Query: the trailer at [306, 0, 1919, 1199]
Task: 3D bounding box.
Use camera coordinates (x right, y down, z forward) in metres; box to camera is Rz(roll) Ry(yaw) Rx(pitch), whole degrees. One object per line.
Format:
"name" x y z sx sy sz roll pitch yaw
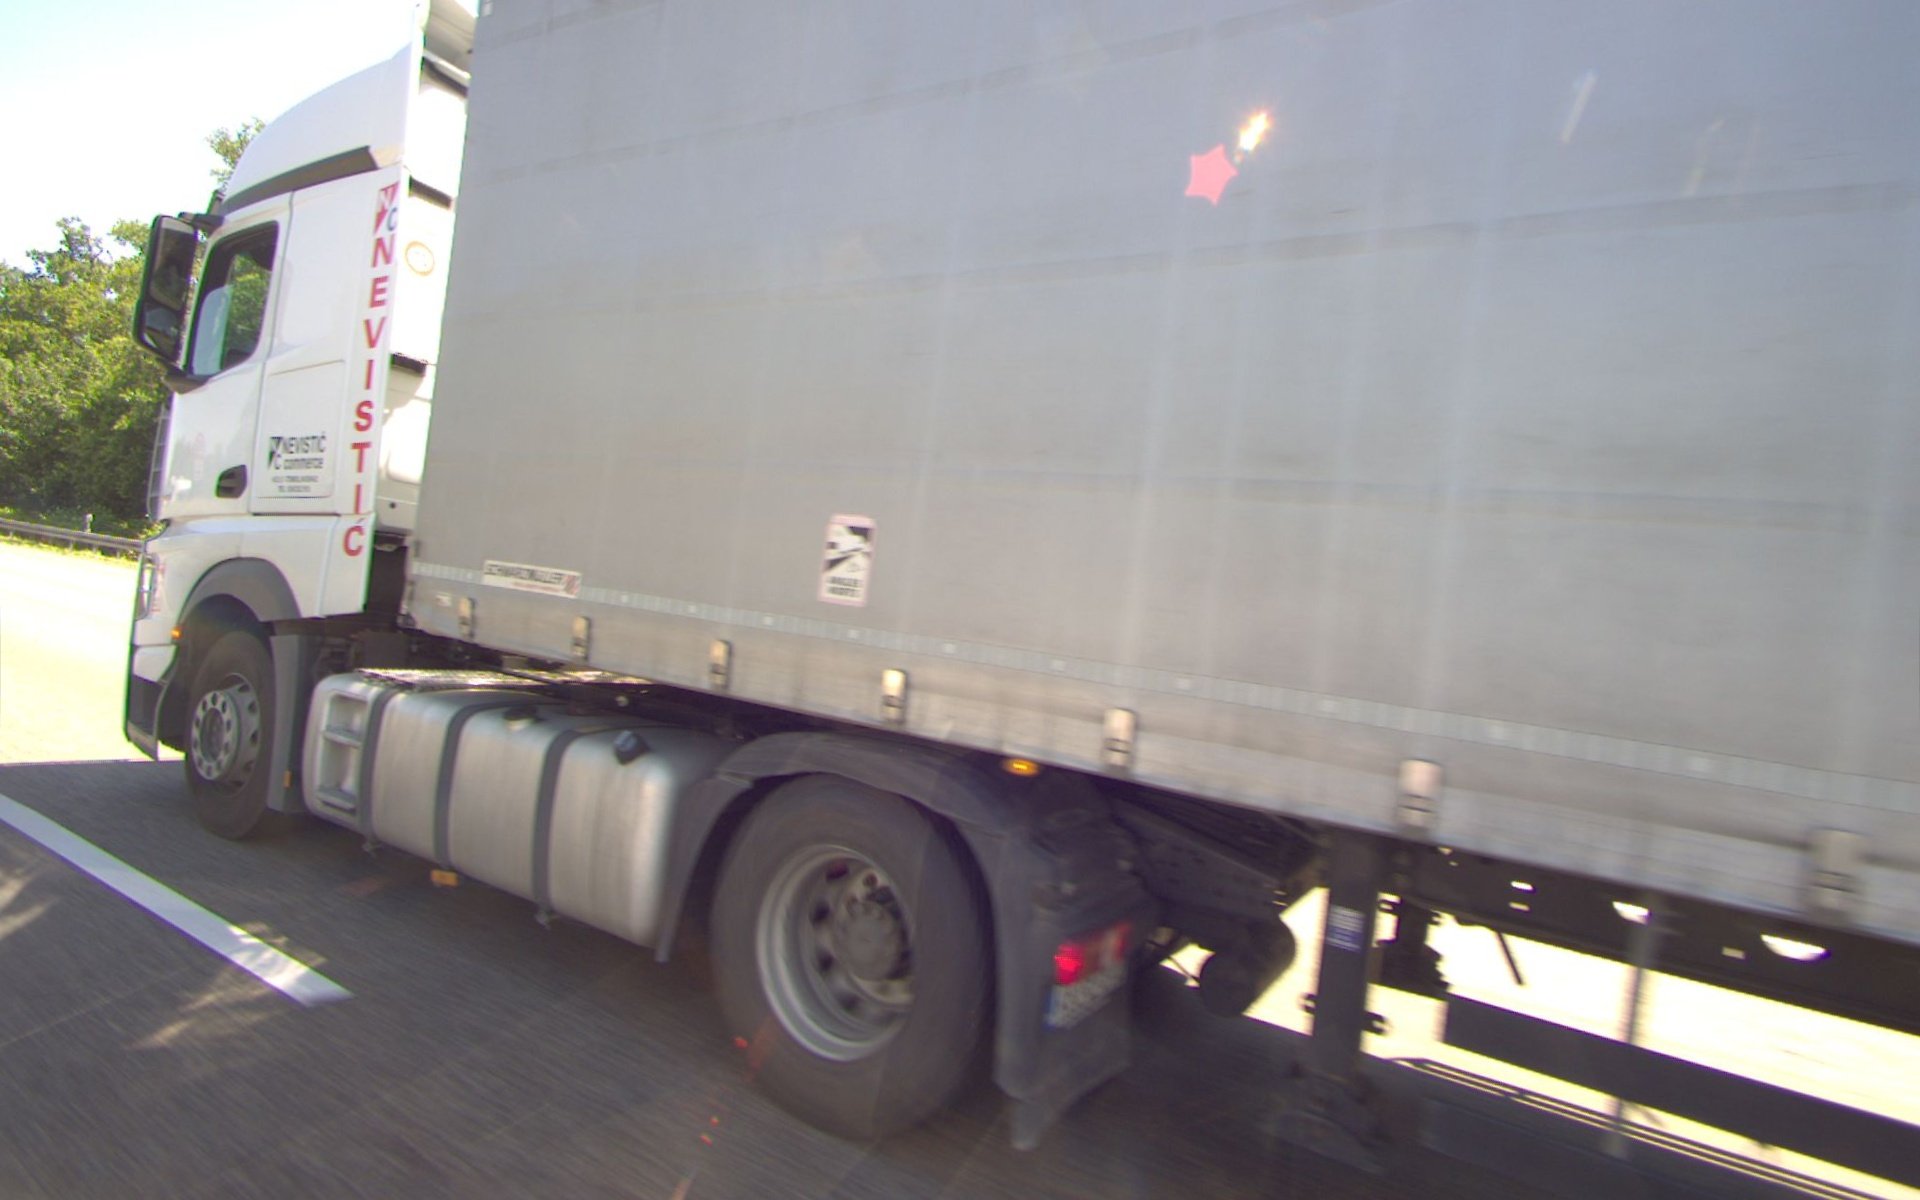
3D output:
"trailer" 4.574 -0.116 1.216 14.501 4.116 2.712 6 -1 32

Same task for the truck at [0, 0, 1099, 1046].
"truck" -2.874 -0.904 5.788 6.346 4.142 2.705 6 -1 31
